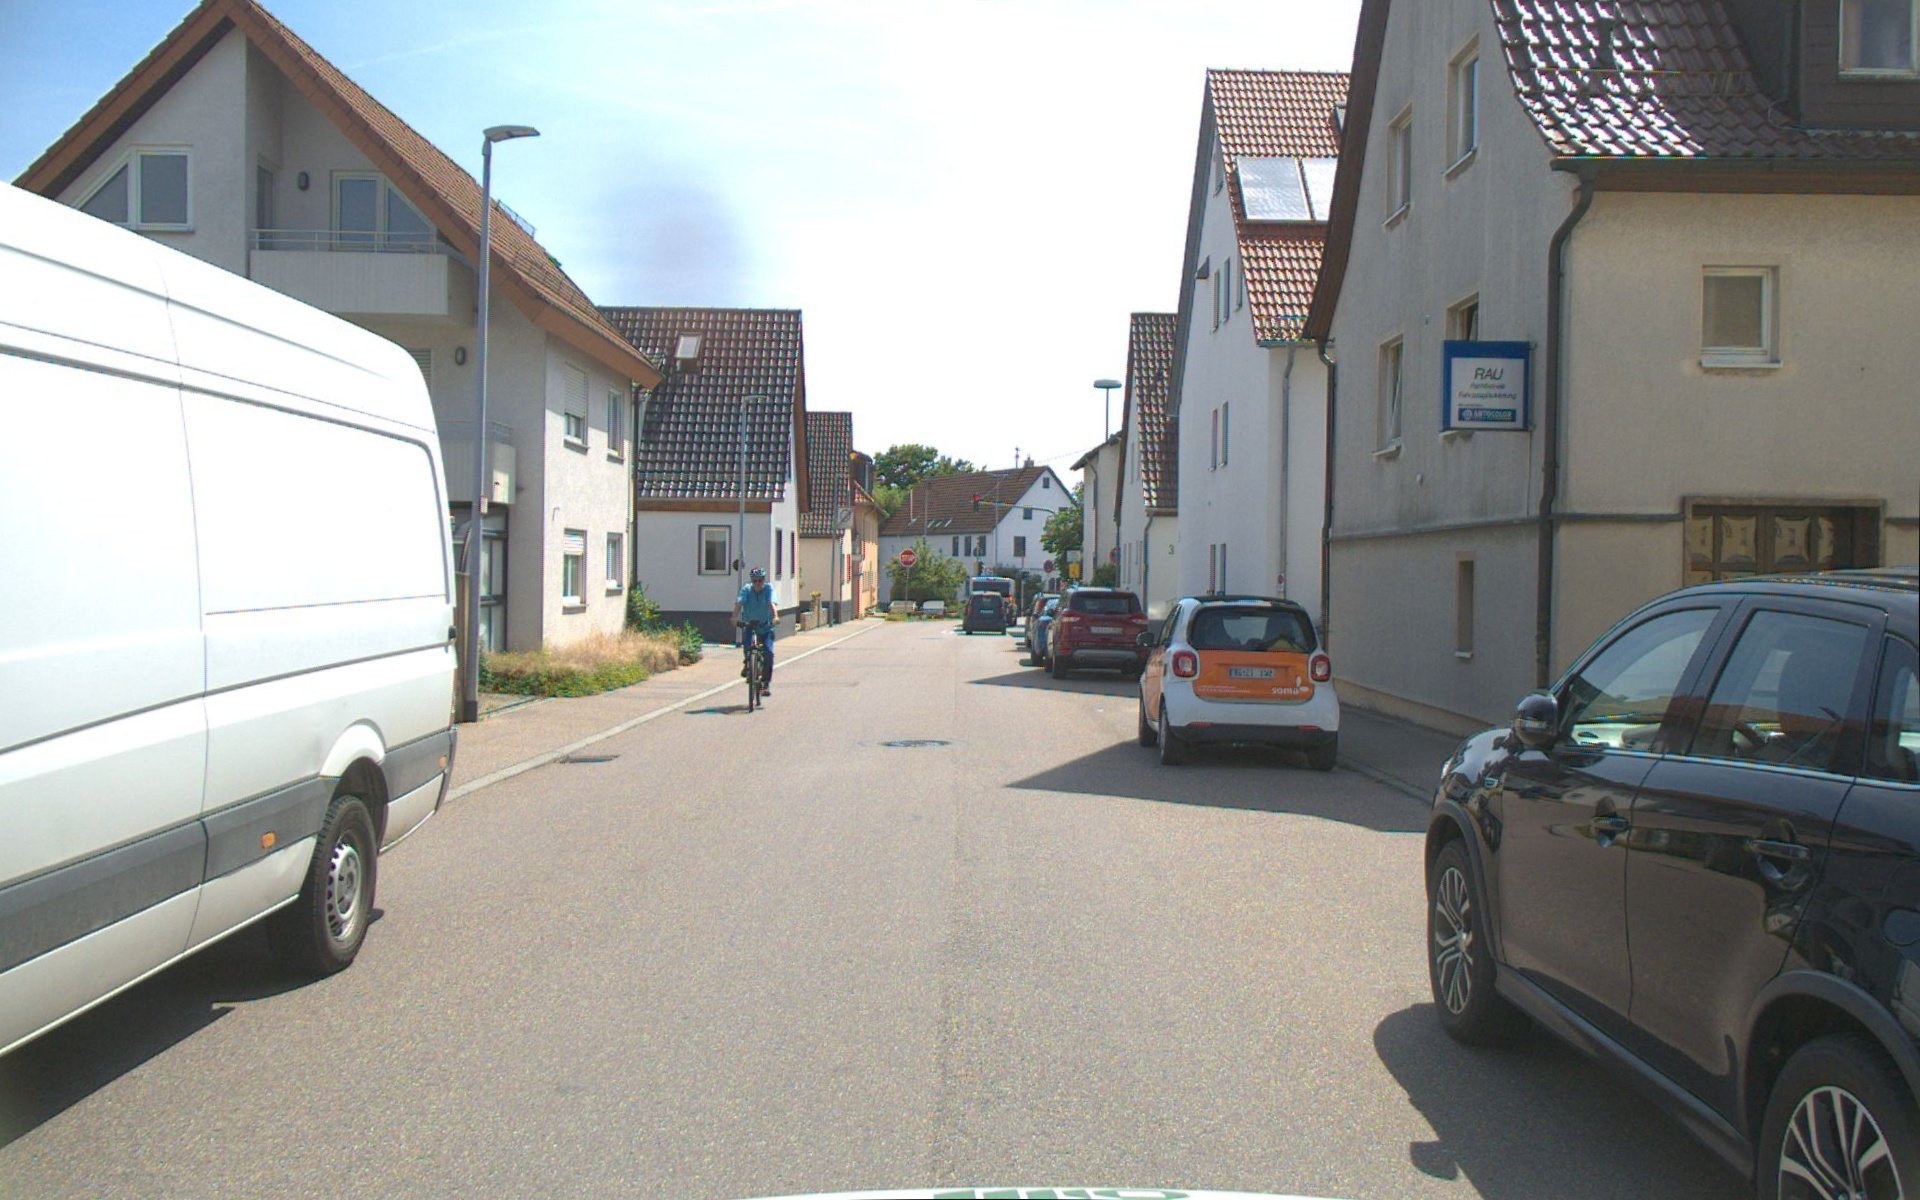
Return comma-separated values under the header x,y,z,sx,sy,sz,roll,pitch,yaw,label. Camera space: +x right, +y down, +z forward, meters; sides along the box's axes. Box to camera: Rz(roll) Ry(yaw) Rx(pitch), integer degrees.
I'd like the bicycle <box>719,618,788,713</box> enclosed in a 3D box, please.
x,y,z,sx,sy,sz,roll,pitch,yaw,label
-2.720,0.833,21.959,0.657,1.152,2.189,1,0,-1,bicycle

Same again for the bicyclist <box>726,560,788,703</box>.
x,y,z,sx,sy,sz,roll,pitch,yaw,label
-2.675,0.404,21.852,0.699,1.830,0.941,1,0,-2,bicyclist

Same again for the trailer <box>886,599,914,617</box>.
x,y,z,sx,sy,sz,roll,pitch,yaw,label
-3.343,0.440,92.399,1.471,0.943,1.012,3,0,1,trailer

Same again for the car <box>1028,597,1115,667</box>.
x,y,z,sx,sy,sz,roll,pitch,yaw,label
2.475,0.676,37.650,1.727,1.448,4.592,1,0,1,car

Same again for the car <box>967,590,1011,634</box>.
x,y,z,sx,sy,sz,roll,pitch,yaw,label
1.110,0.439,62.504,1.484,1.594,3.185,1,0,3,car

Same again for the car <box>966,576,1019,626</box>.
x,y,z,sx,sy,sz,roll,pitch,yaw,label
1.545,0.031,76.753,2.084,2.196,4.739,1,0,6,car

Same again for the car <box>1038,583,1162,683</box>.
x,y,z,sx,sy,sz,roll,pitch,yaw,label
2.593,0.569,31.579,1.838,1.730,4.181,2,0,-2,car

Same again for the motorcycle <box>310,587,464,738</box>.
x,y,z,sx,sy,sz,roll,pitch,yaw,label
-5.746,0.582,16.749,0.767,1.417,2.352,1,0,-1,motorcycle

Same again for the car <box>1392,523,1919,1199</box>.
x,y,z,sx,sy,sz,roll,pitch,yaw,label
2.565,0.692,4.430,1.693,1.627,4.253,2,0,0,car

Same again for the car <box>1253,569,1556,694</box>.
x,y,z,sx,sy,sz,roll,pitch,yaw,label
7.283,0.495,27.389,4.425,1.875,1.999,2,0,-3,car

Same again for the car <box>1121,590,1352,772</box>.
x,y,z,sx,sy,sz,roll,pitch,yaw,label
2.624,0.719,16.334,1.640,1.586,3.039,2,0,-2,car

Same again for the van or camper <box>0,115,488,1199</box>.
x,y,z,sx,sy,sz,roll,pitch,yaw,label
-3.385,0.122,4.650,2.140,2.616,6.806,2,0,-1,van or camper

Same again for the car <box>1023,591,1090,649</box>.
x,y,z,sx,sy,sz,roll,pitch,yaw,label
2.734,0.535,47.467,1.536,1.572,3.448,1,0,-2,car

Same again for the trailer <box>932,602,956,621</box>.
x,y,z,sx,sy,sz,roll,pitch,yaw,label
-0.905,0.644,92.011,1.283,0.987,0.933,2,0,1,trailer

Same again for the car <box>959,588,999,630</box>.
x,y,z,sx,sy,sz,roll,pitch,yaw,label
0.796,0.355,67.330,1.484,1.653,3.185,0,0,3,car
